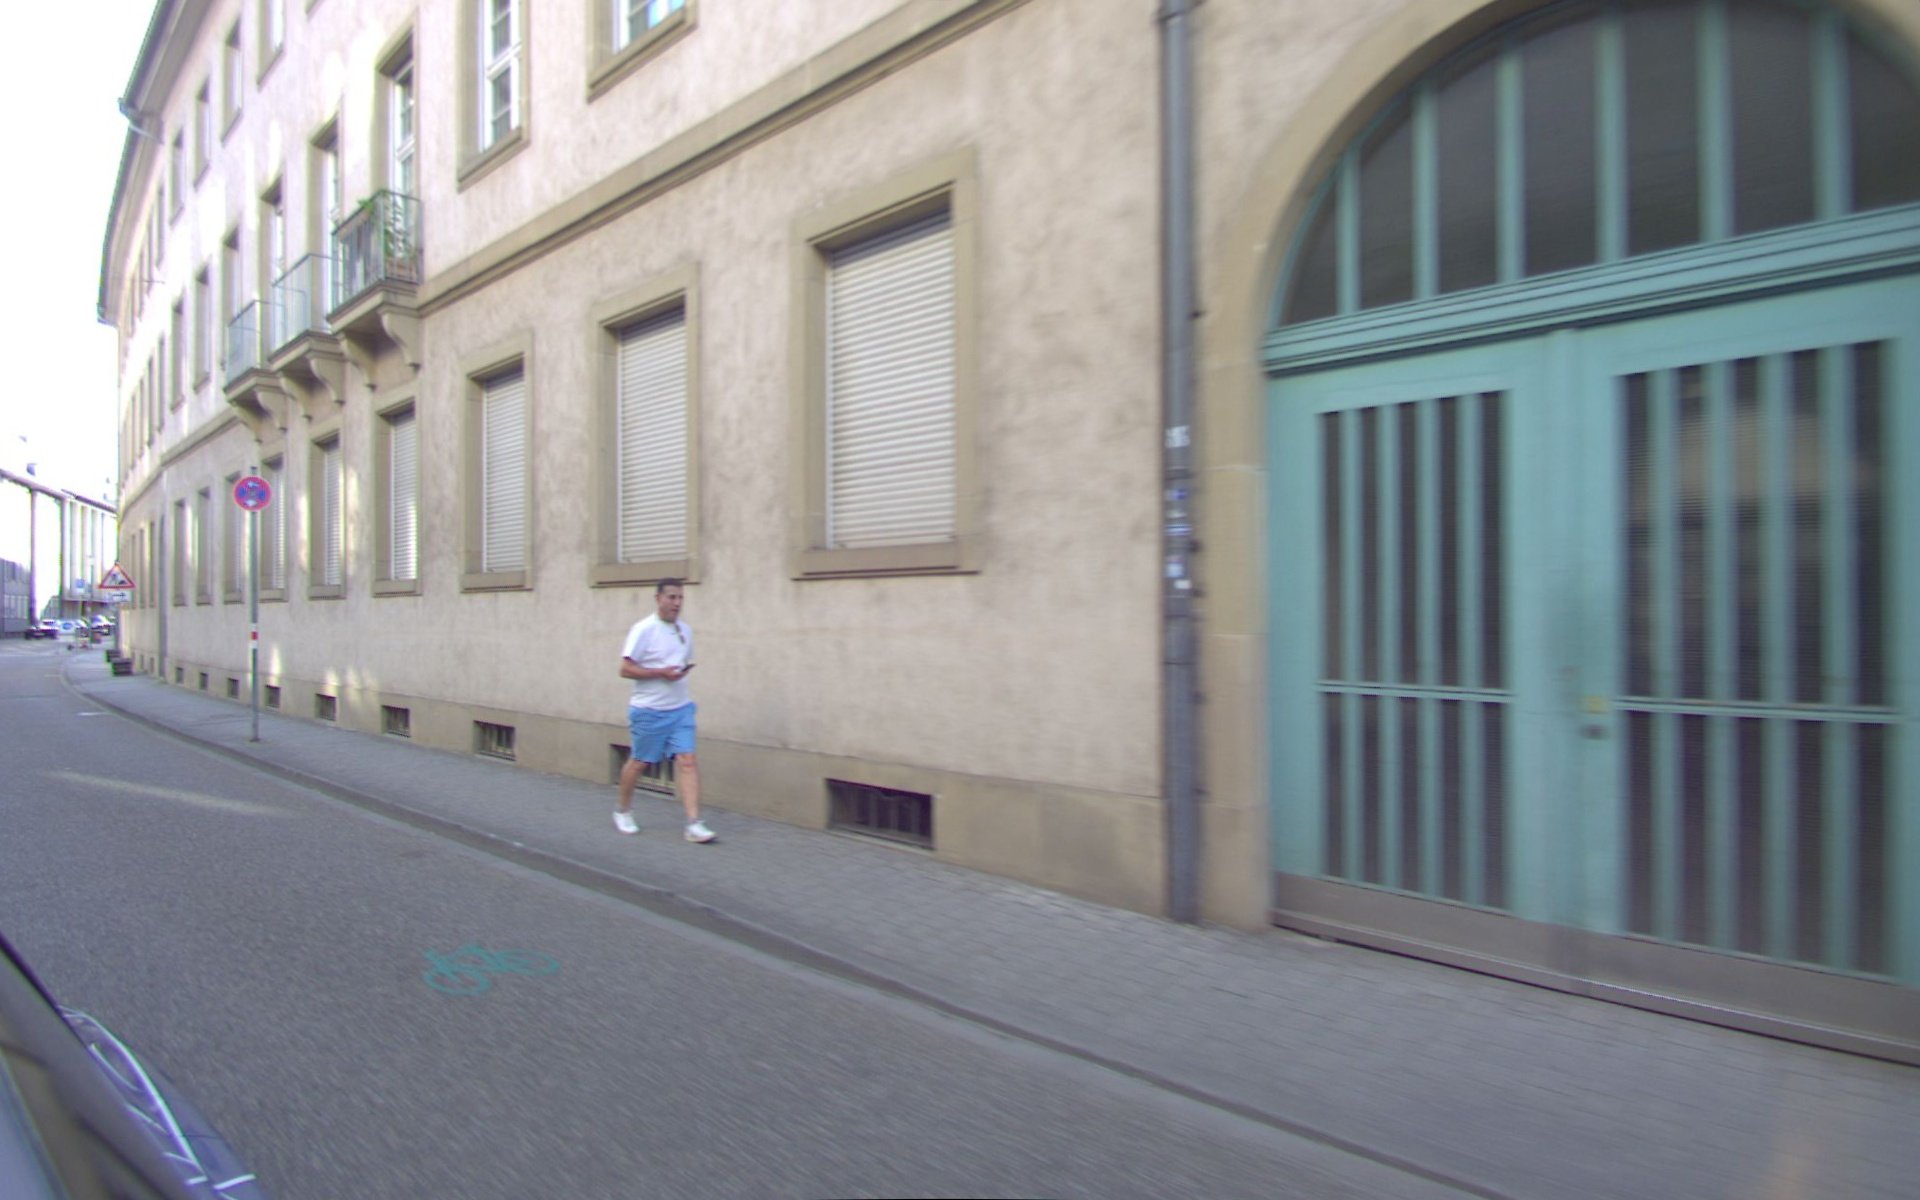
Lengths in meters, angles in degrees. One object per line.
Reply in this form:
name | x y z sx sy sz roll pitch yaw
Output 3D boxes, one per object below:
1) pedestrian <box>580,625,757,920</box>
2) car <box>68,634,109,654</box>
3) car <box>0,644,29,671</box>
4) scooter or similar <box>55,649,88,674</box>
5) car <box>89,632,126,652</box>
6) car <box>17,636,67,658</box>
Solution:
pedestrian | -1.851 1.012 6.419 0.875 1.682 0.685 -2 0 43
car | -73.123 3.691 85.002 1.933 1.547 4.209 -2 0 -31
car | -61.380 3.724 64.879 1.747 1.595 3.867 -5 1 -33
scooter or similar | -44.970 3.102 51.224 0.461 1.234 1.300 0 -3 -1
car | -76.903 3.733 91.362 1.933 1.659 4.209 -2 0 -31
car | -67.036 3.426 73.963 1.933 1.418 4.209 -2 0 -31
